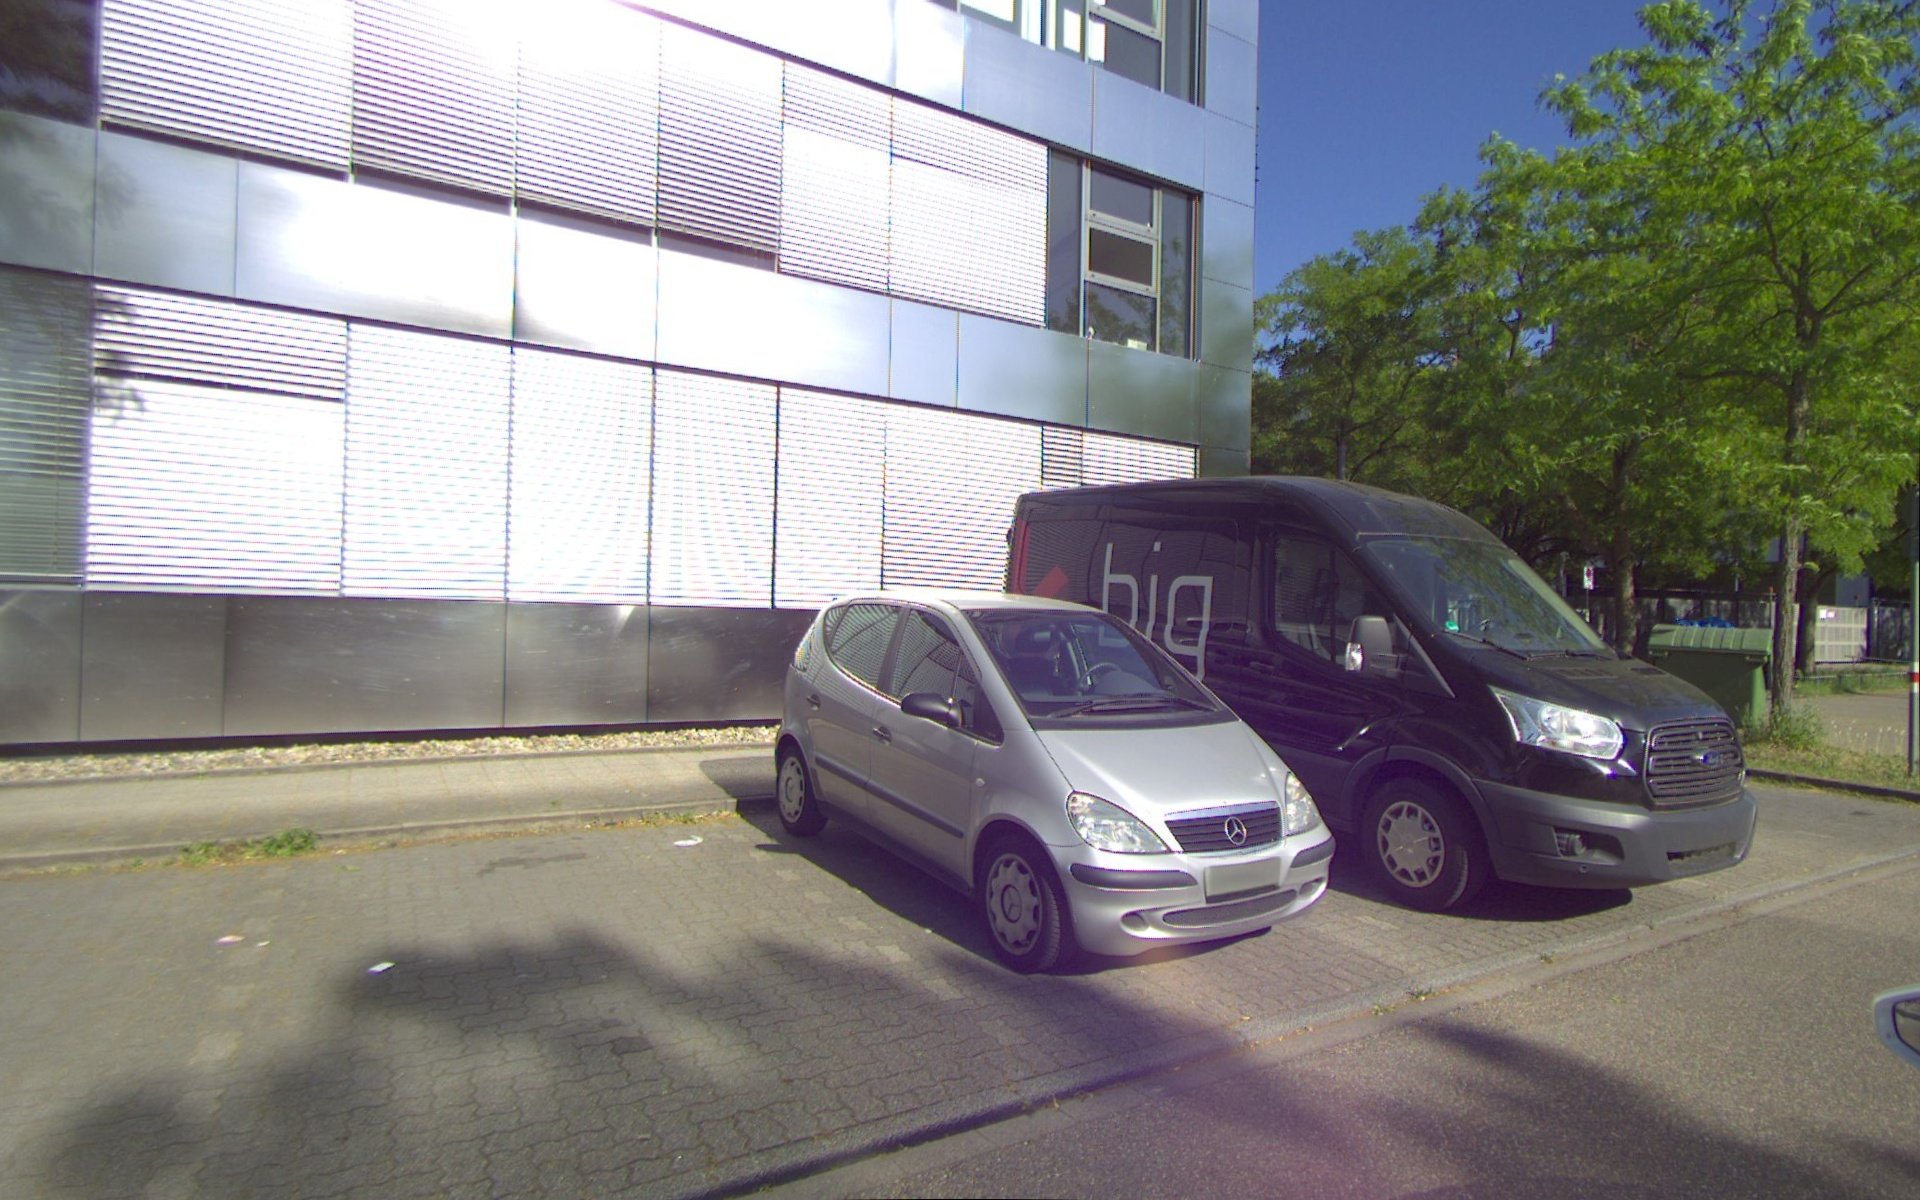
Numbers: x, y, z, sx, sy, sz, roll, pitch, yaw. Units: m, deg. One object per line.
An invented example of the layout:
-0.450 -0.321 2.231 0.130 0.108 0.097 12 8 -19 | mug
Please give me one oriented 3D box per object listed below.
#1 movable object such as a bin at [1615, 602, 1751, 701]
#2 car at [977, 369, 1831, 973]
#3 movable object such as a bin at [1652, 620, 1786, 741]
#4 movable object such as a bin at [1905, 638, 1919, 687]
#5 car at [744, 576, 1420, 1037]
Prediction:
13.456 0.945 18.722 1.503 1.618 1.408 4 2 -27 | movable object such as a bin
2.490 0.323 7.339 2.206 2.657 5.428 2 0 -30 | car
9.798 0.989 12.963 1.279 1.432 1.221 1 -1 42 | movable object such as a bin
24.834 1.589 25.547 1.913 1.197 0.659 1 -1 -31 | movable object such as a bin
0.321 0.745 5.782 1.871 1.667 3.810 2 0 -32 | car
